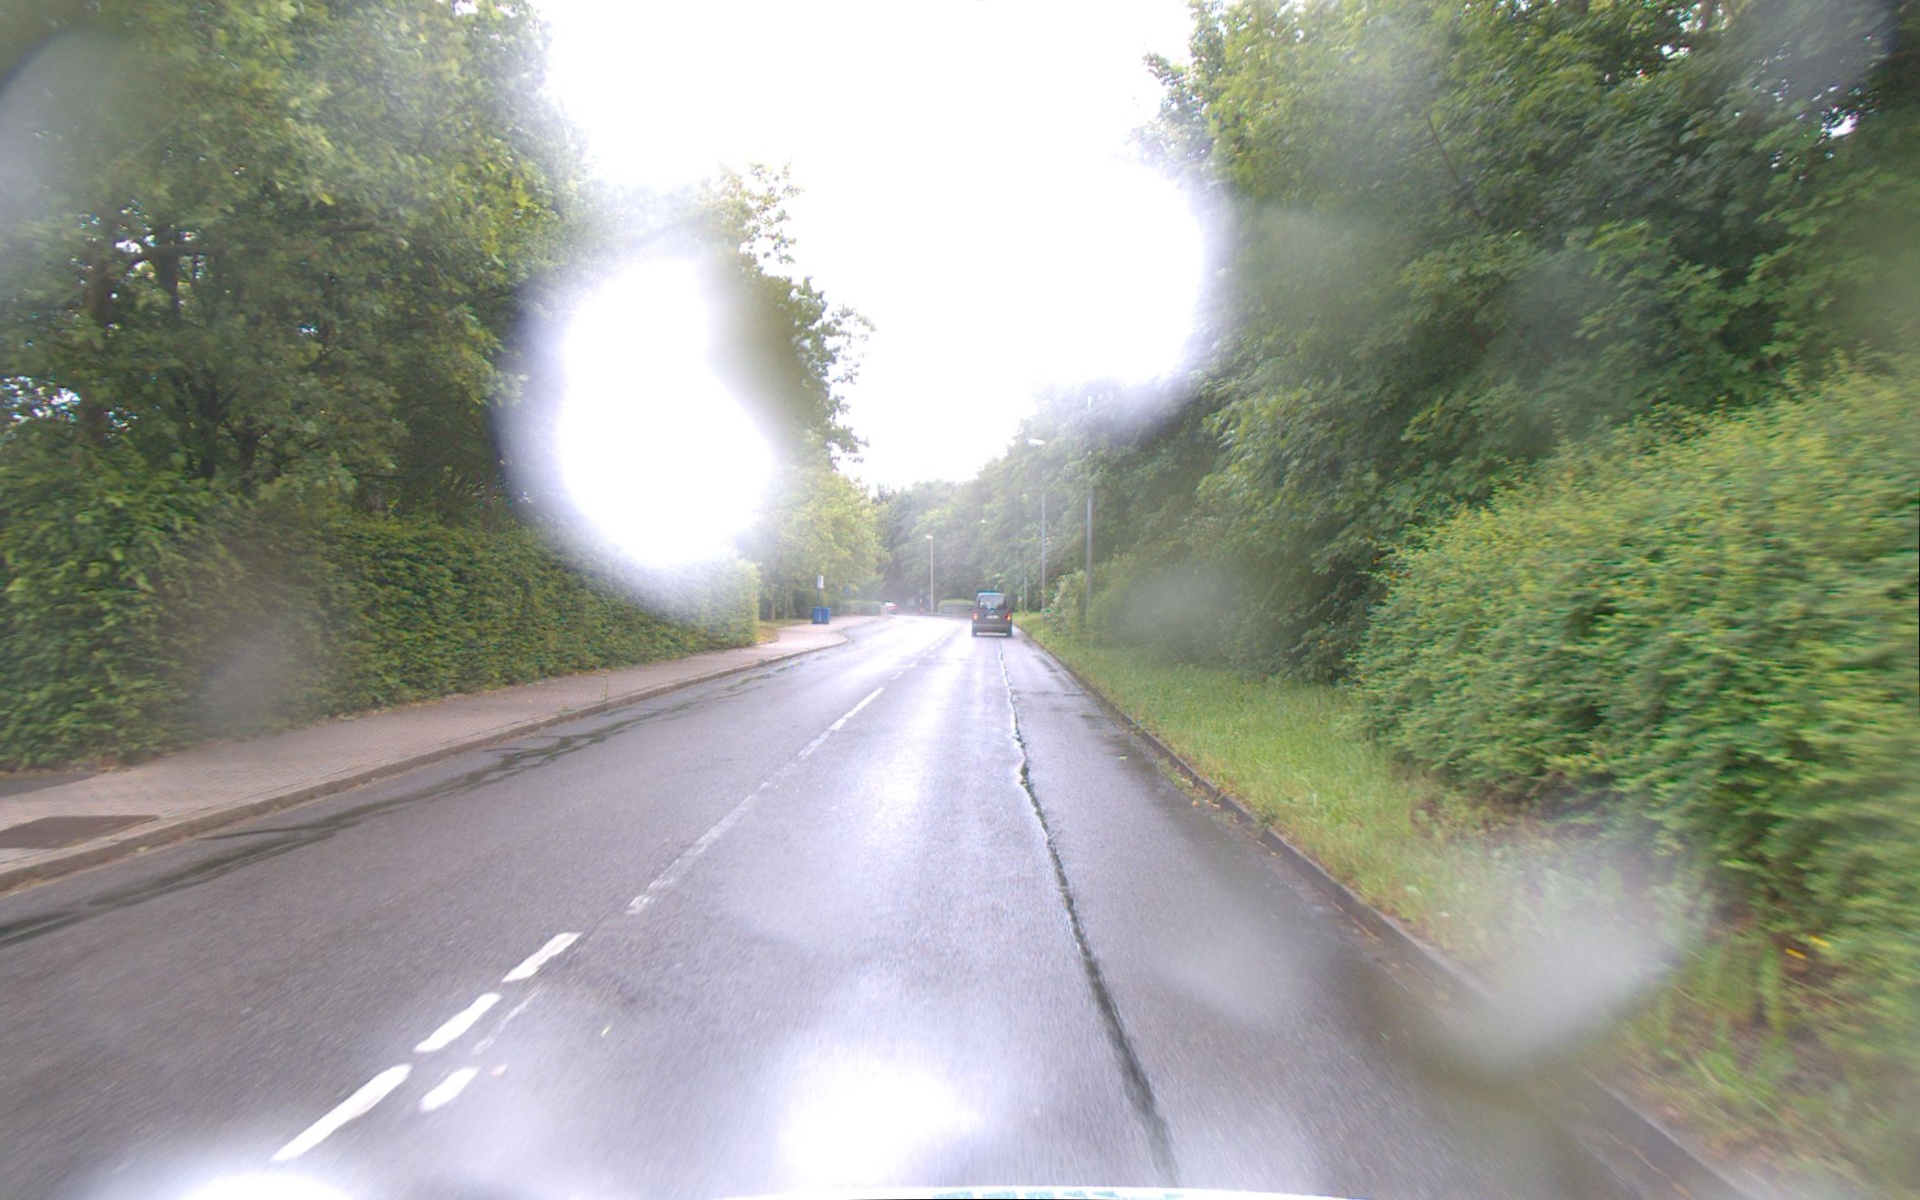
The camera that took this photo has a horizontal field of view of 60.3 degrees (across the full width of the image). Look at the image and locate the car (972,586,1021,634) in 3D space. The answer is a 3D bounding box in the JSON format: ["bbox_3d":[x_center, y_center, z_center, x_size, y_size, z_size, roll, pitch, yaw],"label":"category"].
[{"bbox_3d":[1.577,0.389,71.125,1.953,1.824,4.001,3,2,1],"label":"car"}]

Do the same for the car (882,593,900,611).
[{"bbox_3d":[-8.248,0.264,197.793,1.953,2.048,3.999,3,0,-1],"label":"car"}]

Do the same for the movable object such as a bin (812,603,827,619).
[{"bbox_3d":[-9.301,0.752,109.532,0.659,1.044,0.826,-2,0,-30],"label":"movable object such as a bin"}]

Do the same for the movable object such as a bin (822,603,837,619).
[{"bbox_3d":[-8.692,0.747,109.915,0.659,1.044,0.826,-2,0,-30],"label":"movable object such as a bin"}]
